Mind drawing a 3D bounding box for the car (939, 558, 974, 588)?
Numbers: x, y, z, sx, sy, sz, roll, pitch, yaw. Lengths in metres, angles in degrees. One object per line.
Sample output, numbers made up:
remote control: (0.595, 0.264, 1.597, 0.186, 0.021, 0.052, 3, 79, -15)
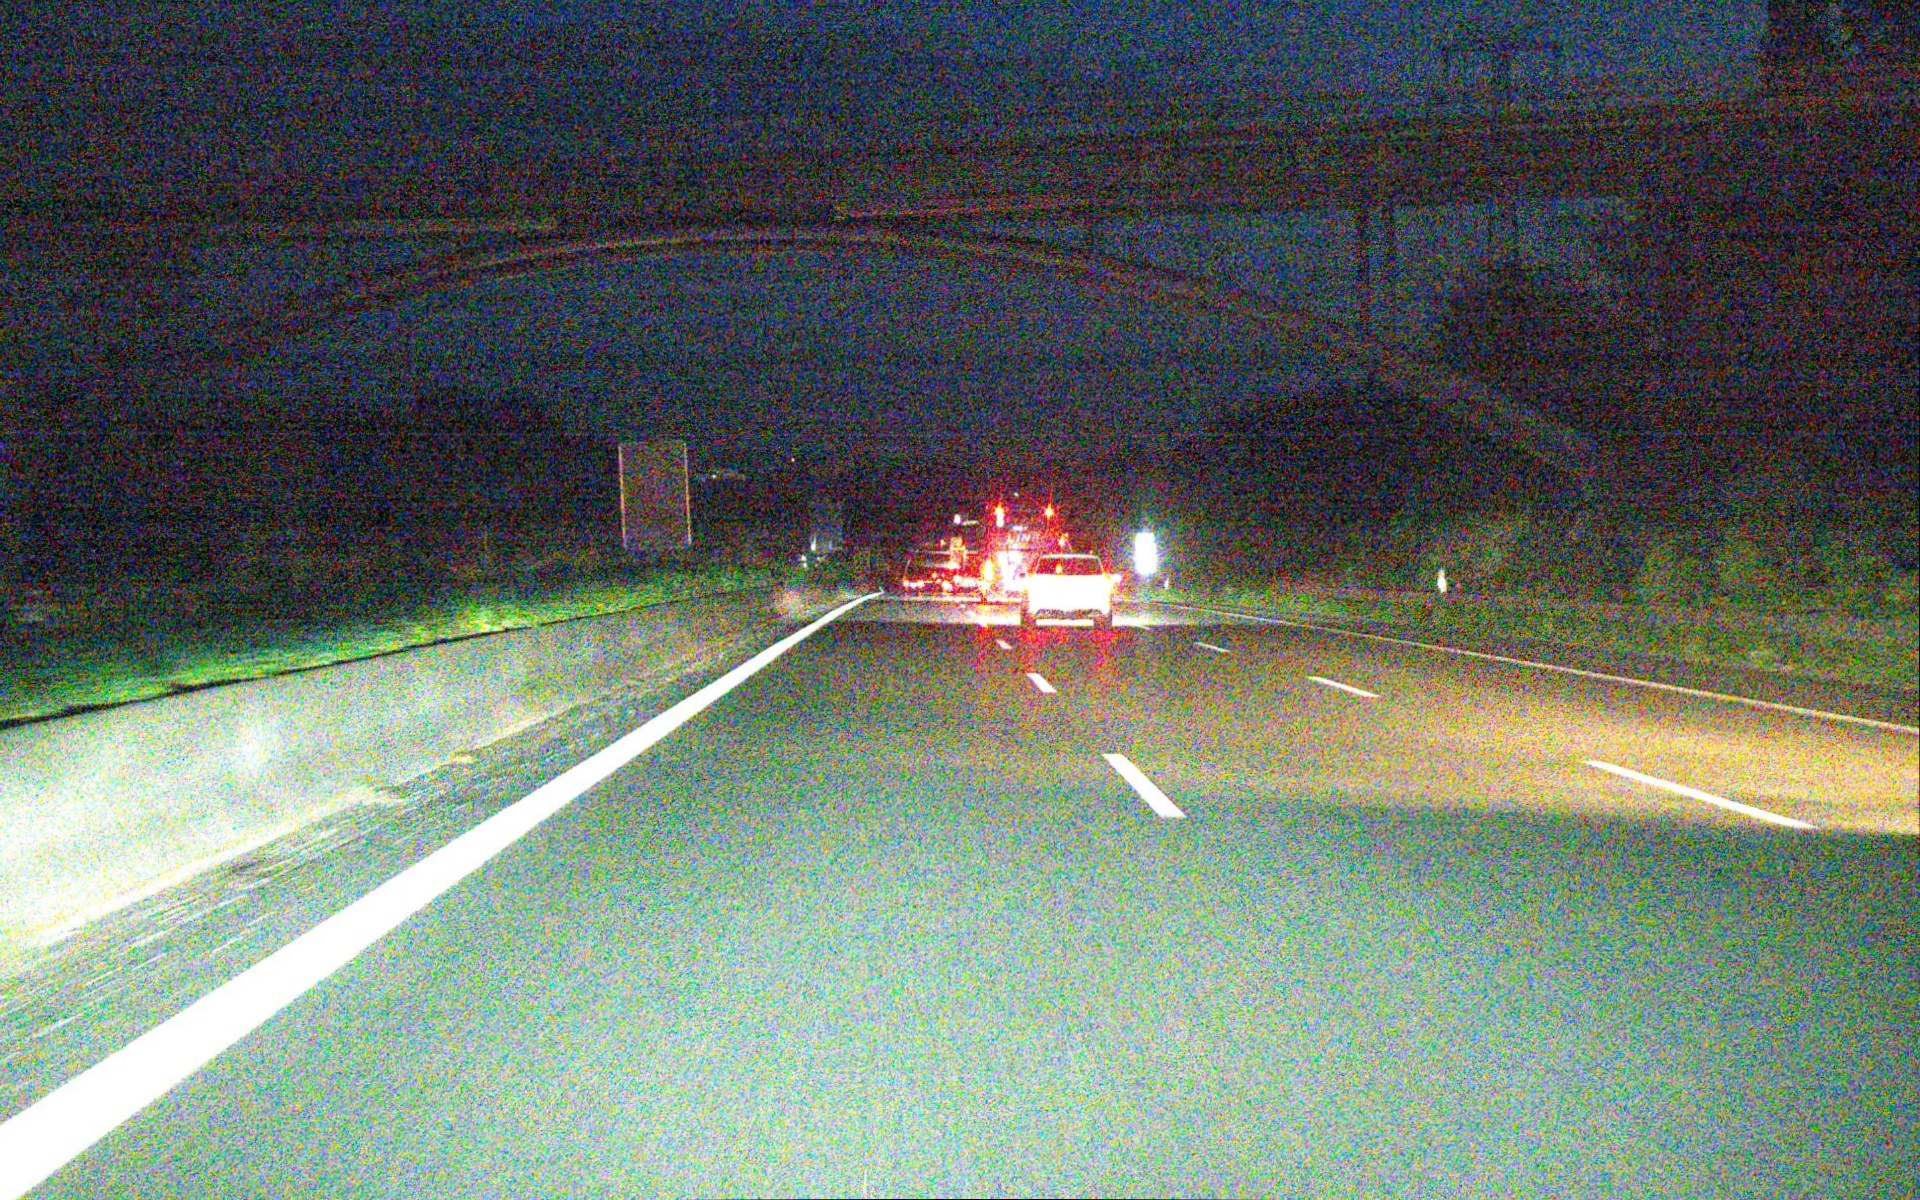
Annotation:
car: (-0.189, -1.485, 187.398, 1.821, 1.461, 4.248, 1, 2, 0)

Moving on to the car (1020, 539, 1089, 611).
car: (1.983, -0.553, 72.603, 1.346, 1.382, 3.502, 1, 2, 0)

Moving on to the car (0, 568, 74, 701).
car: (-13.267, 0.422, 46.434, 1.634, 1.582, 4.001, 1, 2, -1)

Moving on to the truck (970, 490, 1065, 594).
truck: (1.917, -2.086, 118.741, 3.044, 3.313, 10.143, 1, 2, 0)
